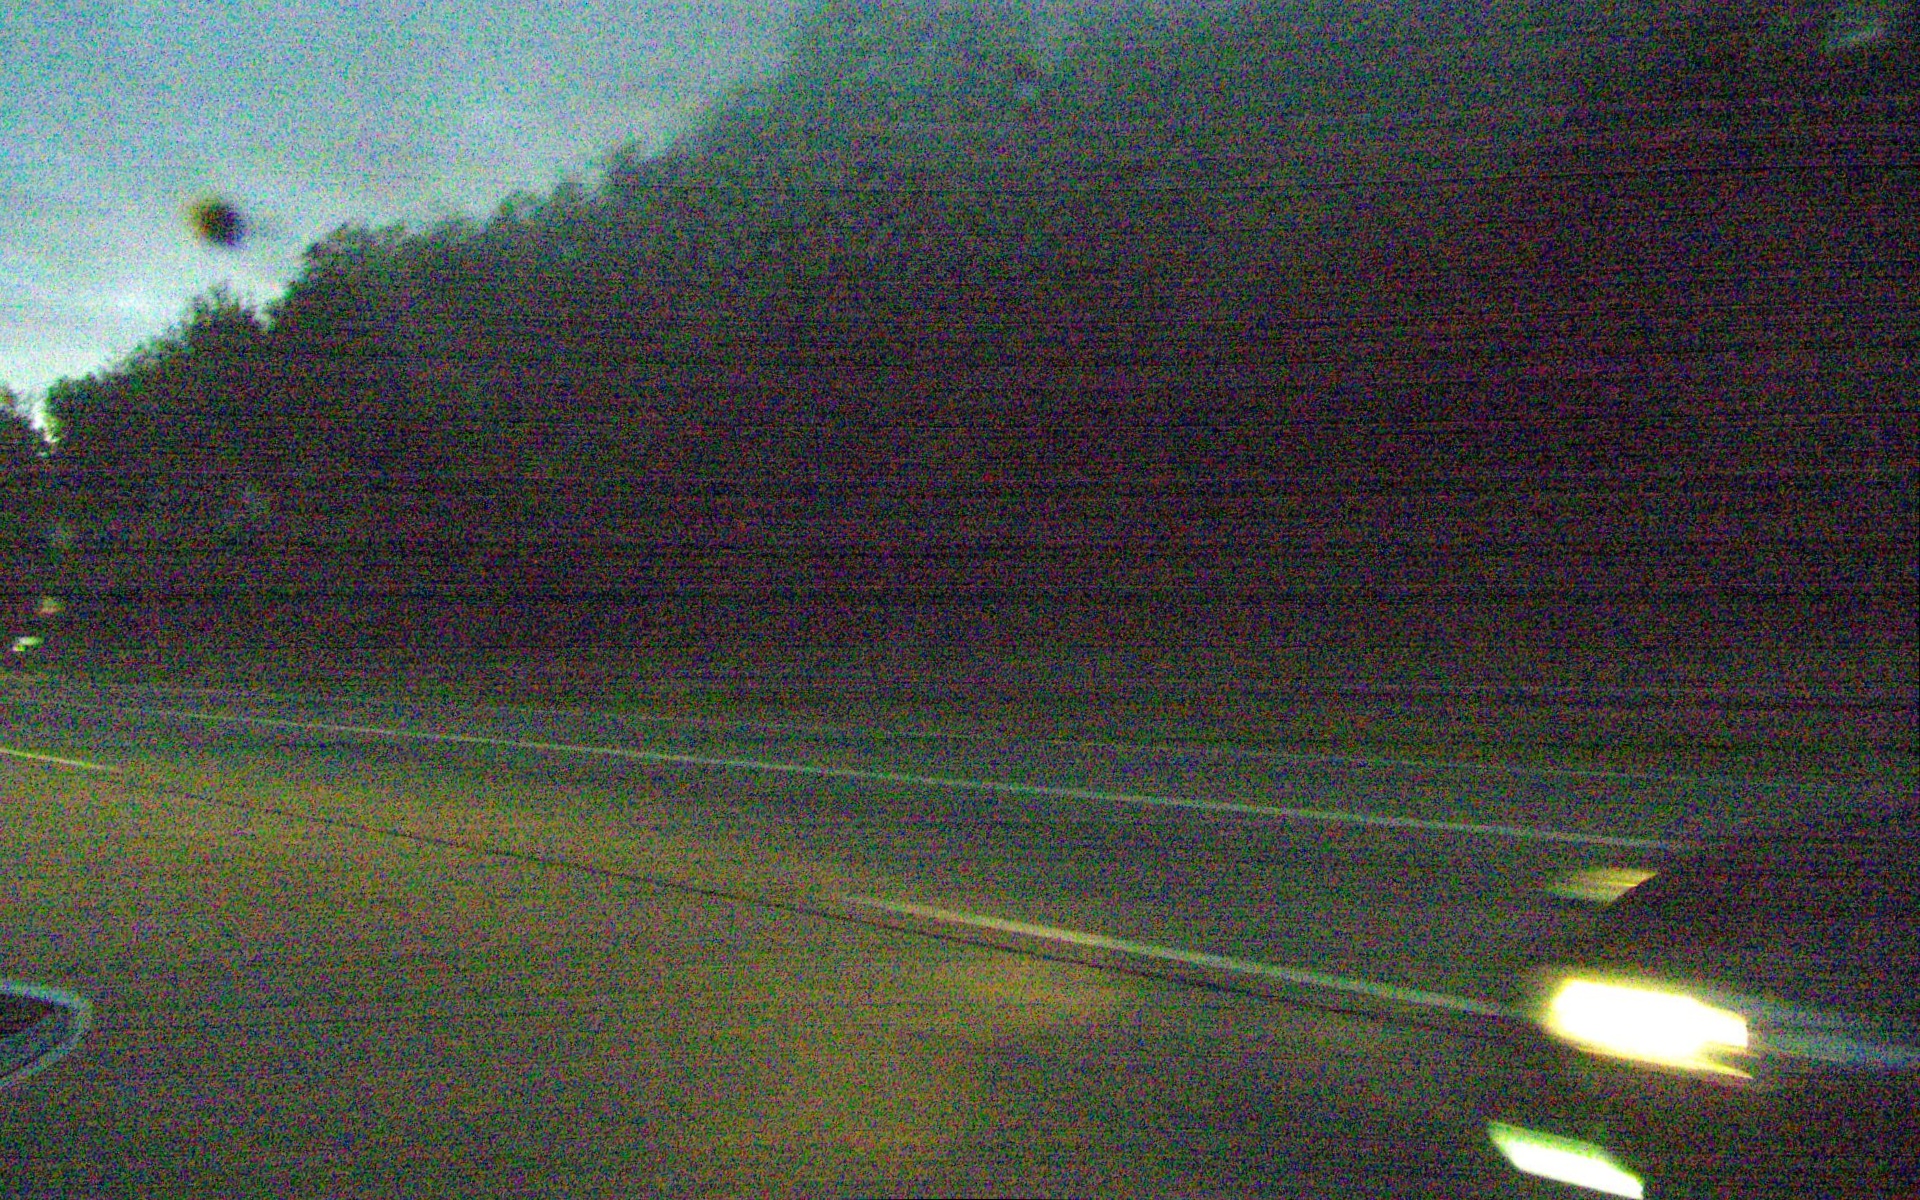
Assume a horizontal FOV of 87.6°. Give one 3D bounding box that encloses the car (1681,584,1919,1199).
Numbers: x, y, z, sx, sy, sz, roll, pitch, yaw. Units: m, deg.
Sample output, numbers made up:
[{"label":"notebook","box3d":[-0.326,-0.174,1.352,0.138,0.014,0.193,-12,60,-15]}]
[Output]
[{"label":"car","box3d":[3.855,0.687,1.007,4.875,1.509,1.690,-2,-2,29]}]
